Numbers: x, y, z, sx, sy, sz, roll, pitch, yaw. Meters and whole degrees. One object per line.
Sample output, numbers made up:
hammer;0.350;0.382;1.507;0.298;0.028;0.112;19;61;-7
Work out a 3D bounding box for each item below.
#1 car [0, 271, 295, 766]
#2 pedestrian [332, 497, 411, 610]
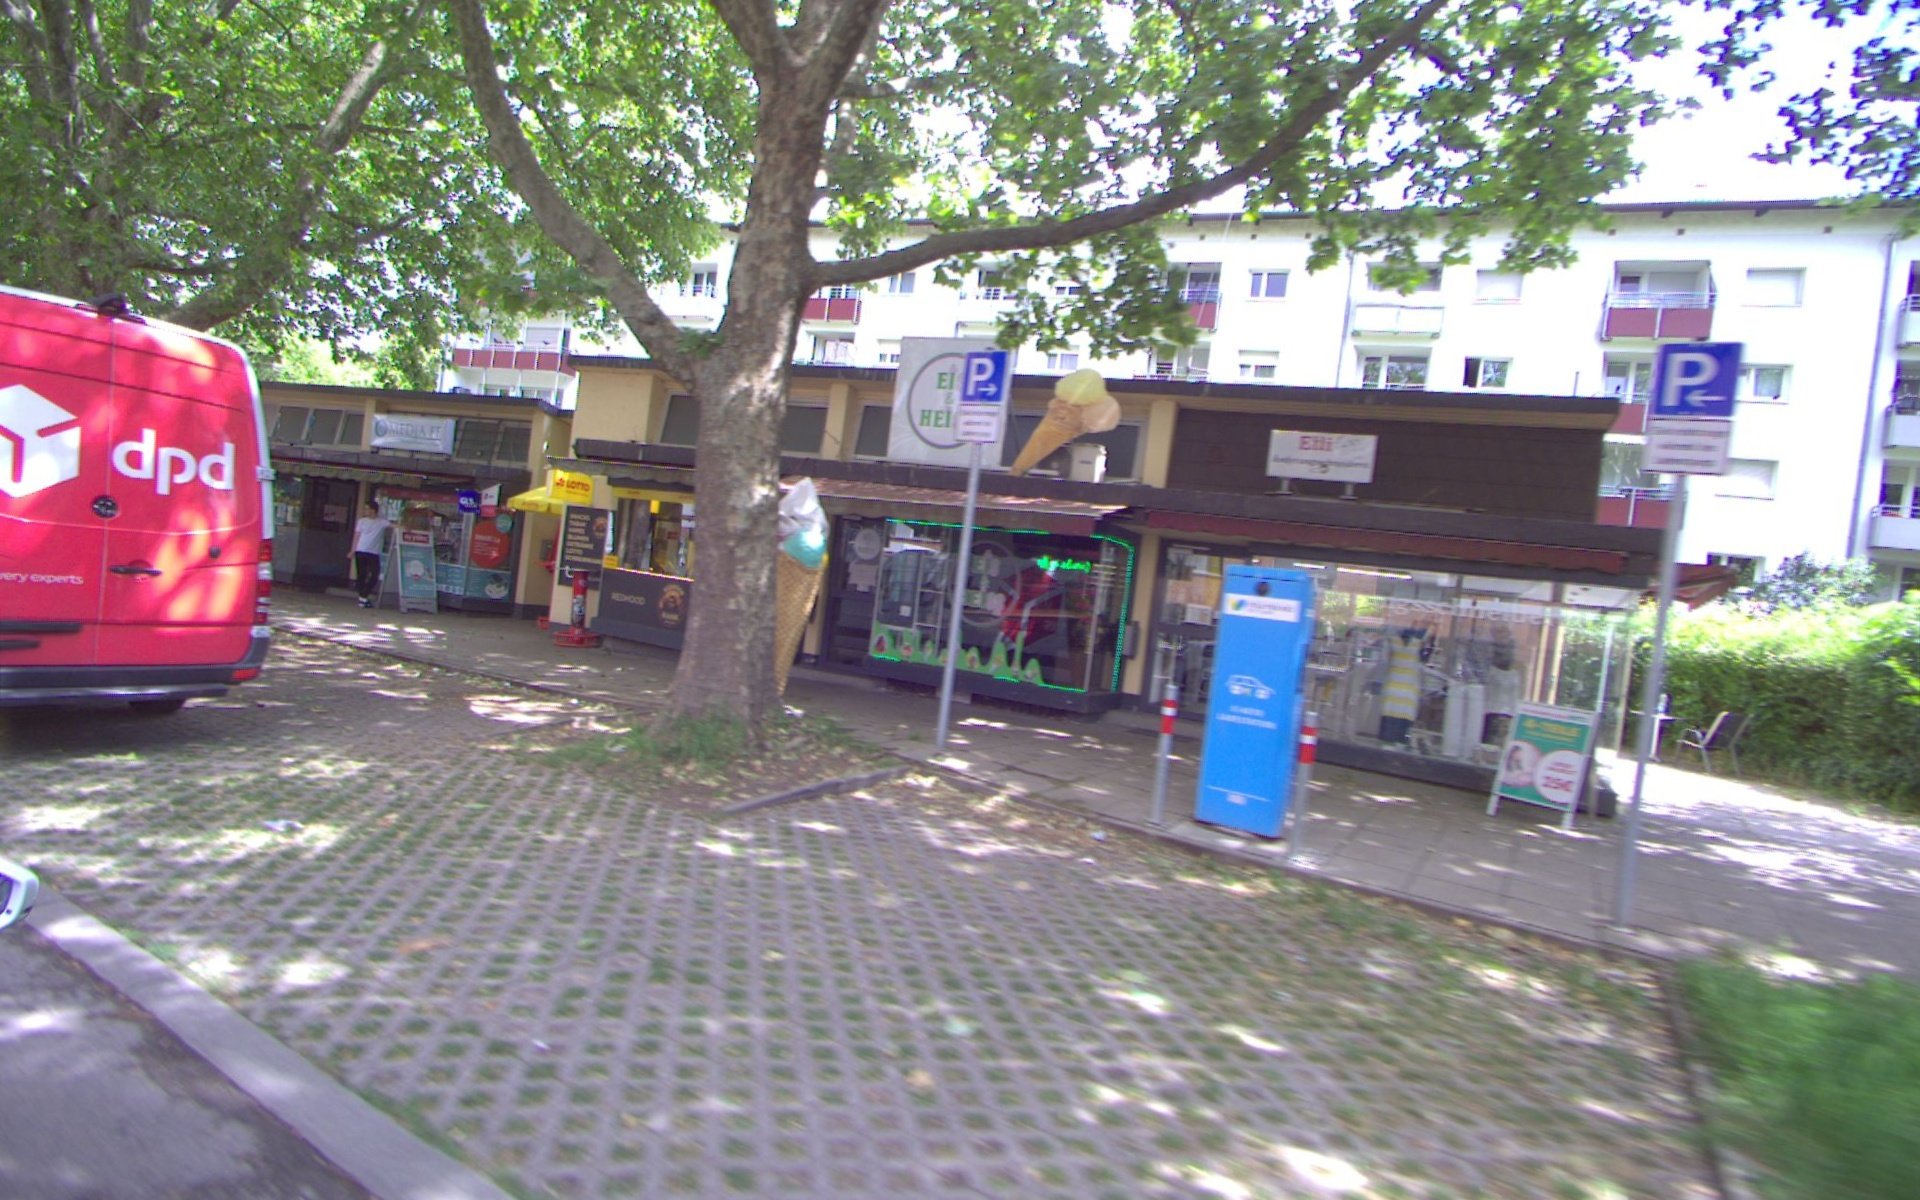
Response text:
car;-7.719;-0.719;7.462;6.721;2.615;1.905;7;2;32
pedestrian;-10.154;-0.782;17.392;0.911;1.824;0.604;5;1;-14
